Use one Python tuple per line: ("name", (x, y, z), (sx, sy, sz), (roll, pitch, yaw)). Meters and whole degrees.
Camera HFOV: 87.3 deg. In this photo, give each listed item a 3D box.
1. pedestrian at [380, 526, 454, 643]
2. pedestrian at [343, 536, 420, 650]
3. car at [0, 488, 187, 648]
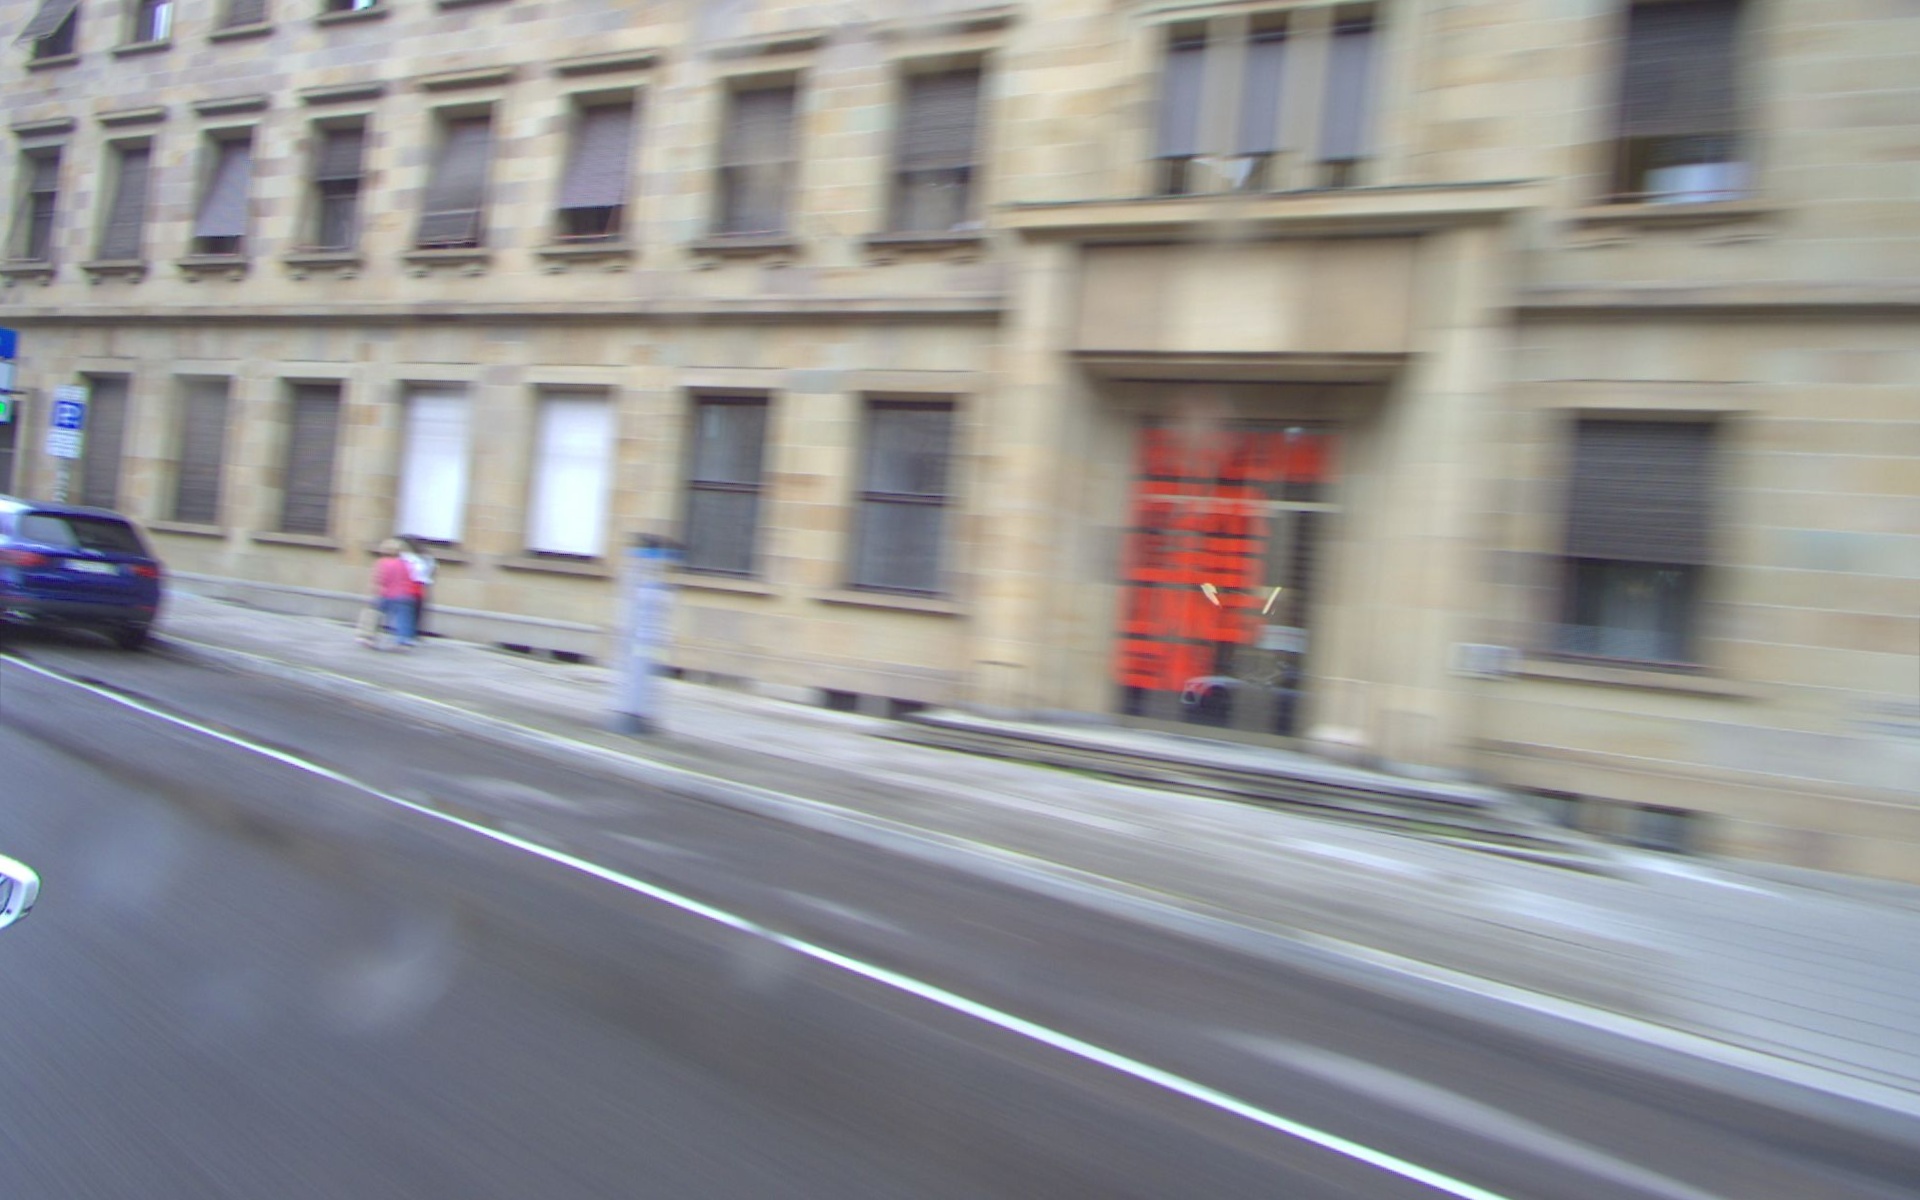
("pedestrian", (-7.983, -0.223, 14.795), (0.662, 1.622, 0.525), (7, 0, 27))
("pedestrian", (-8.166, -0.095, 14.216), (0.662, 1.510, 0.525), (7, 0, 26))
("car", (-11.645, -0.495, 12.393), (4.086, 1.638, 1.772), (6, -1, 29))
